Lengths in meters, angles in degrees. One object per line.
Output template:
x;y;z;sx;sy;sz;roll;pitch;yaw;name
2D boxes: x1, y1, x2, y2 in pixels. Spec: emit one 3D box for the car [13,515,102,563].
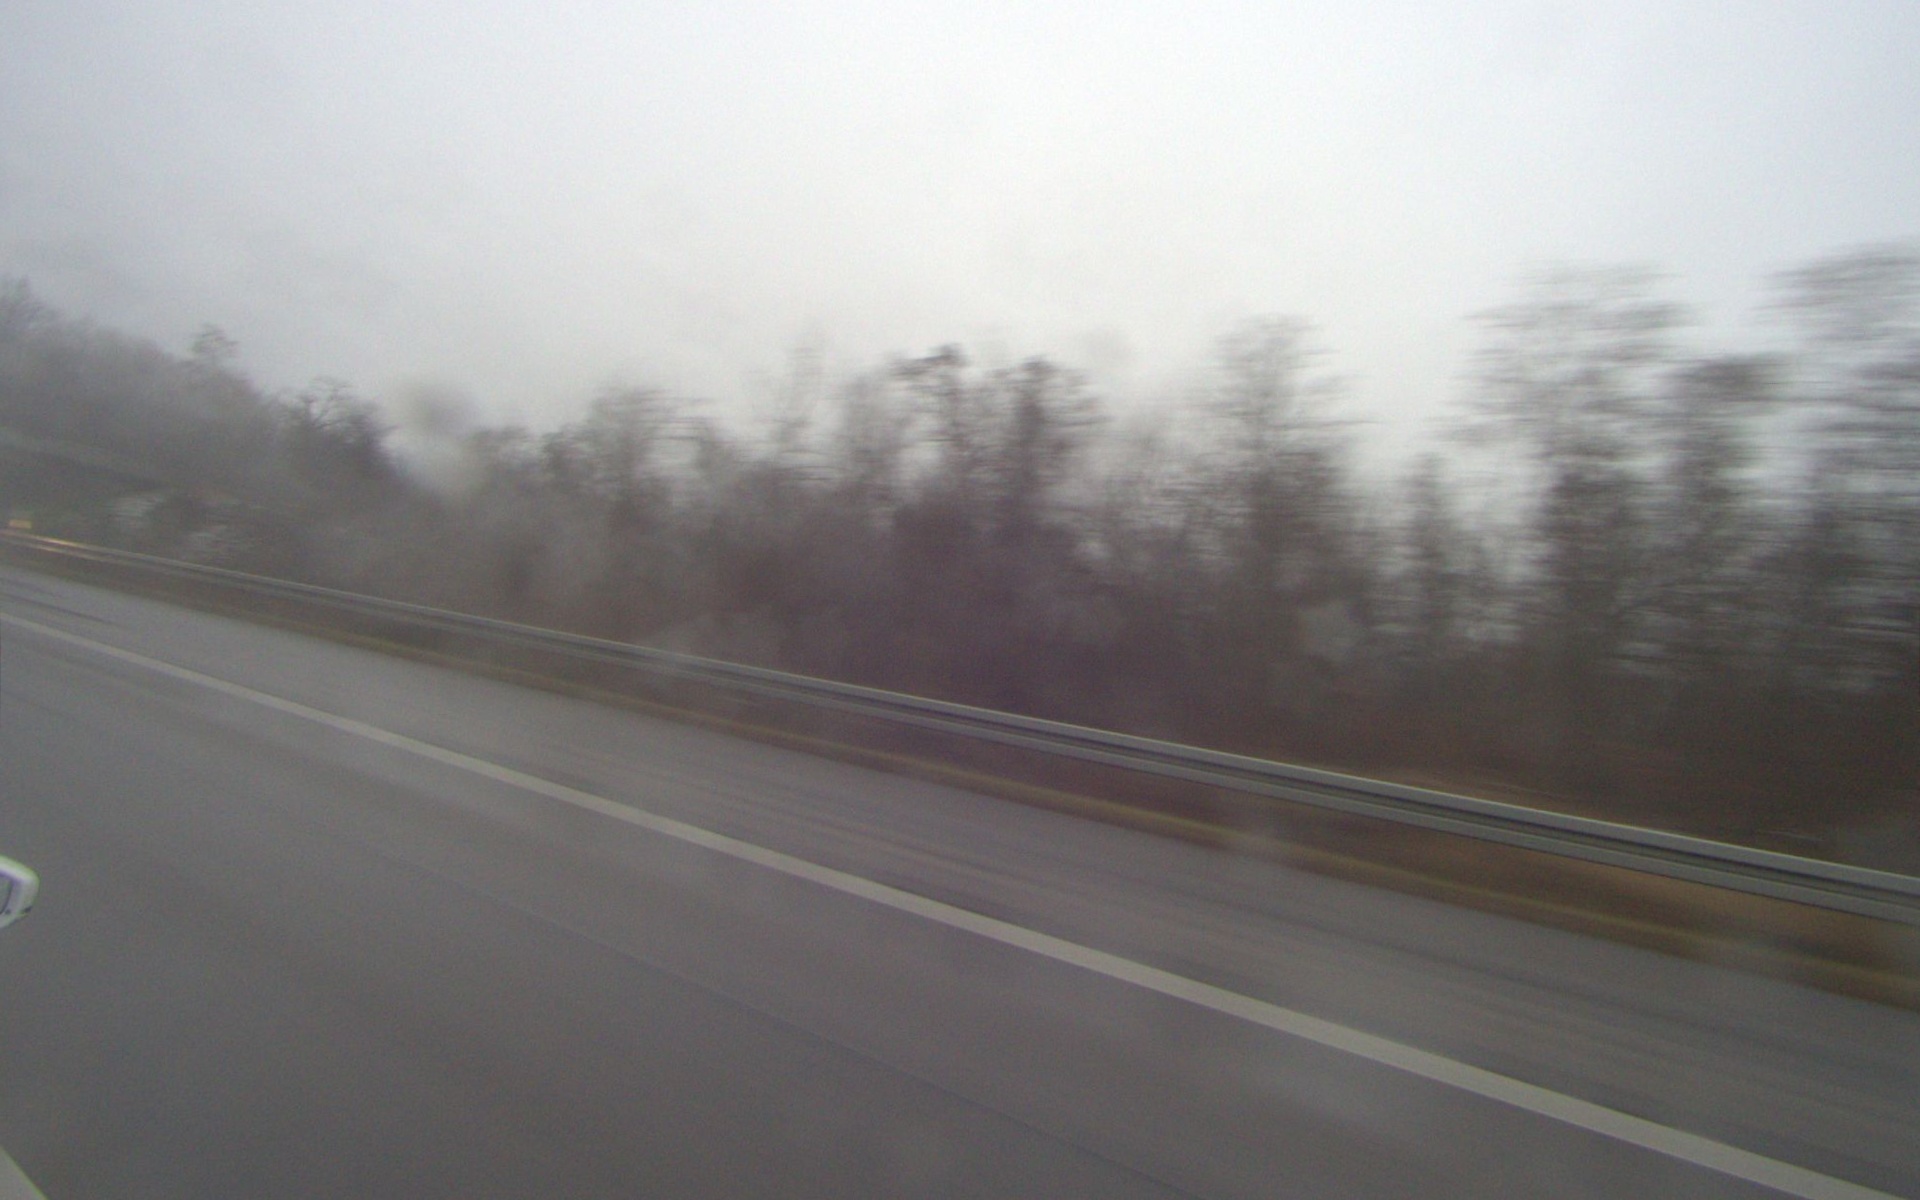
-33.684;-2.281;37.551;3.432;1.359;1.457;6;-2;32;car
